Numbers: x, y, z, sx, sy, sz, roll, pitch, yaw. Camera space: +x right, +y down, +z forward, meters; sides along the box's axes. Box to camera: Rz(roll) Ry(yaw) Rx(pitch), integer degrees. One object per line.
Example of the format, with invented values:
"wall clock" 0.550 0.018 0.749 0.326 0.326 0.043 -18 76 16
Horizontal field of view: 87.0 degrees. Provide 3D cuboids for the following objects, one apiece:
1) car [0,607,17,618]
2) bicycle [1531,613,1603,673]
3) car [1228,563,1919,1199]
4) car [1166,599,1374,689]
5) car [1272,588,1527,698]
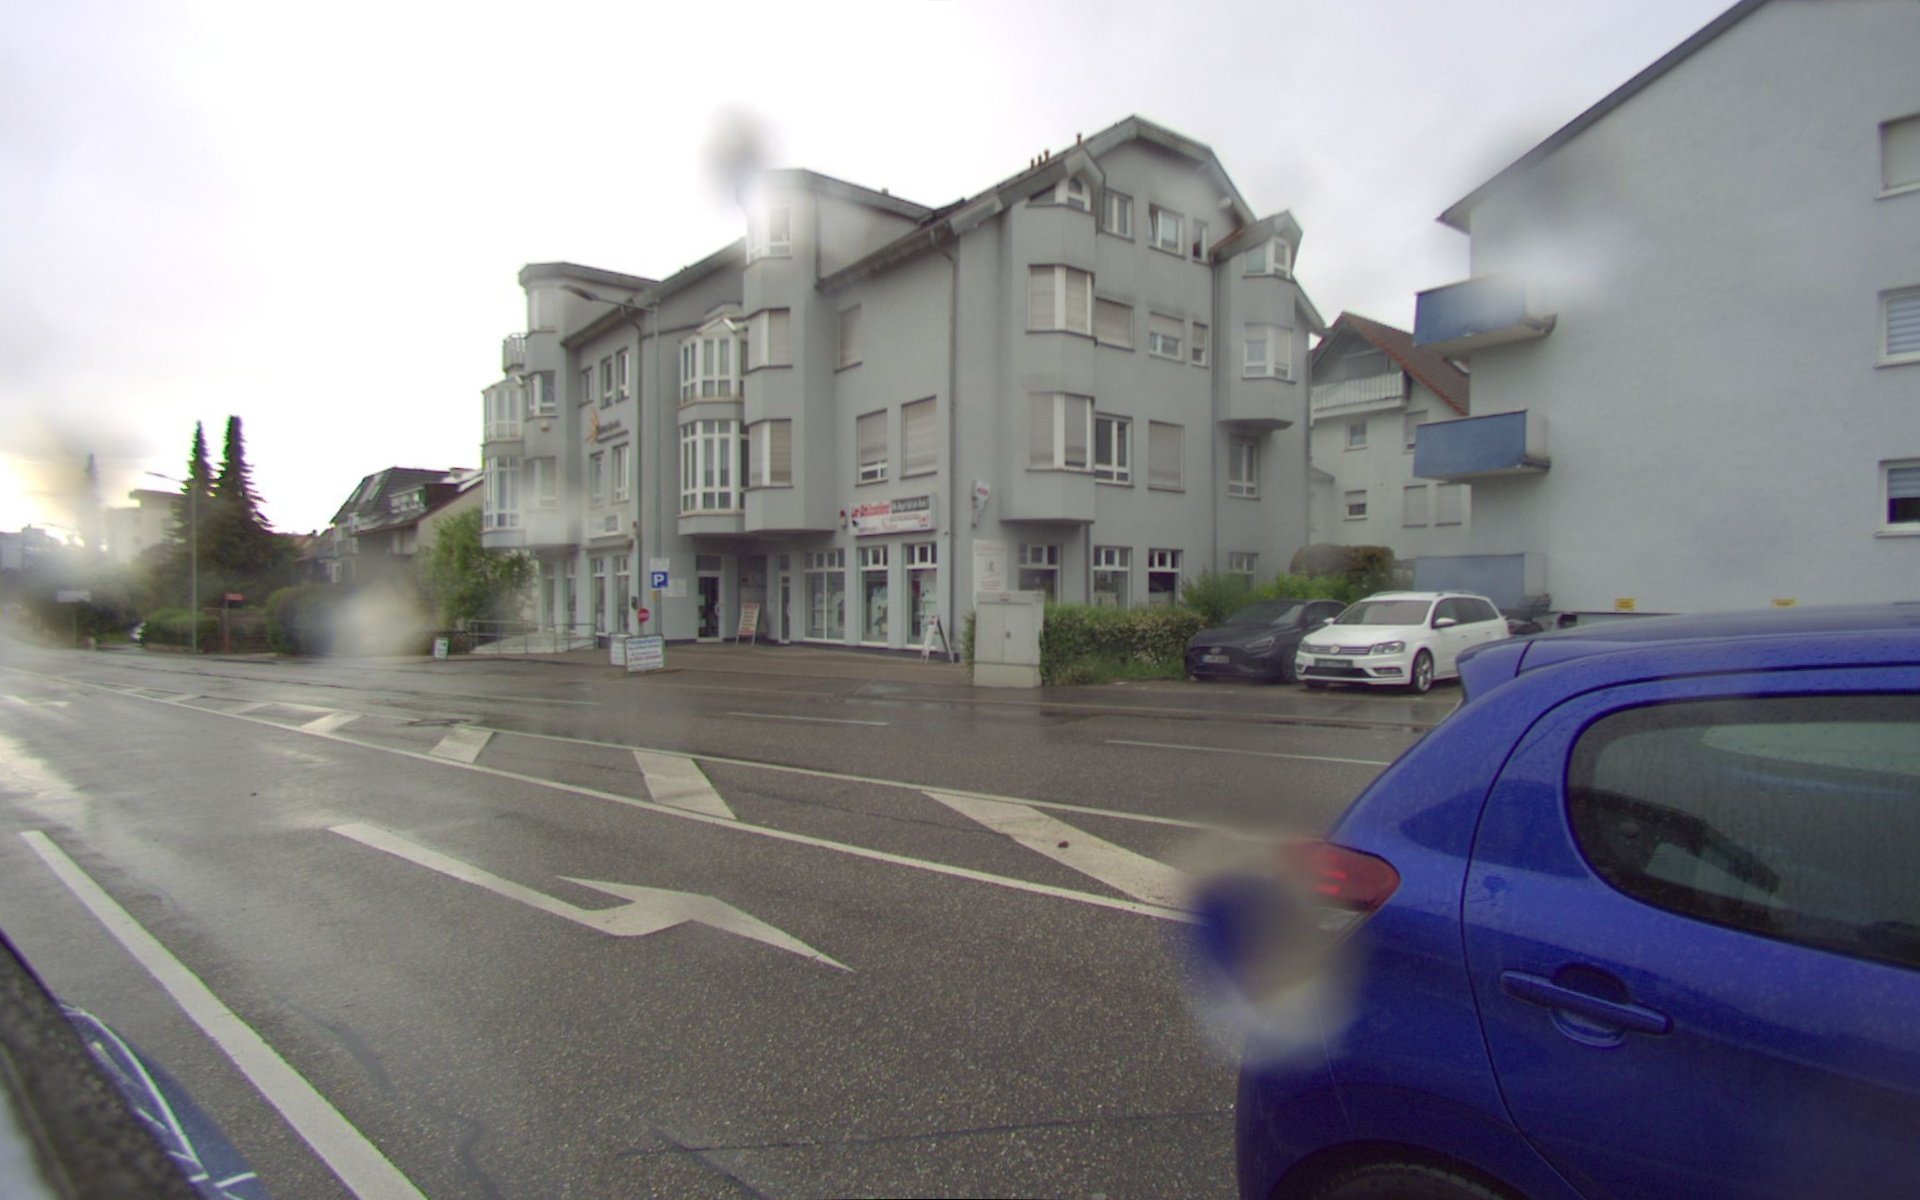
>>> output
"car" -165.994 2.214 176.483 4.001 1.798 1.972 -1 0 43
"bicycle" 11.137 0.789 18.578 1.065 1.061 0.343 -2 -1 41
"car" 2.229 0.640 1.214 3.362 1.423 1.489 -2 -1 41
"car" 5.487 0.687 17.667 1.851 1.366 3.941 -1 0 45
"car" 6.976 0.601 15.822 4.685 1.471 1.883 0 -2 -42
